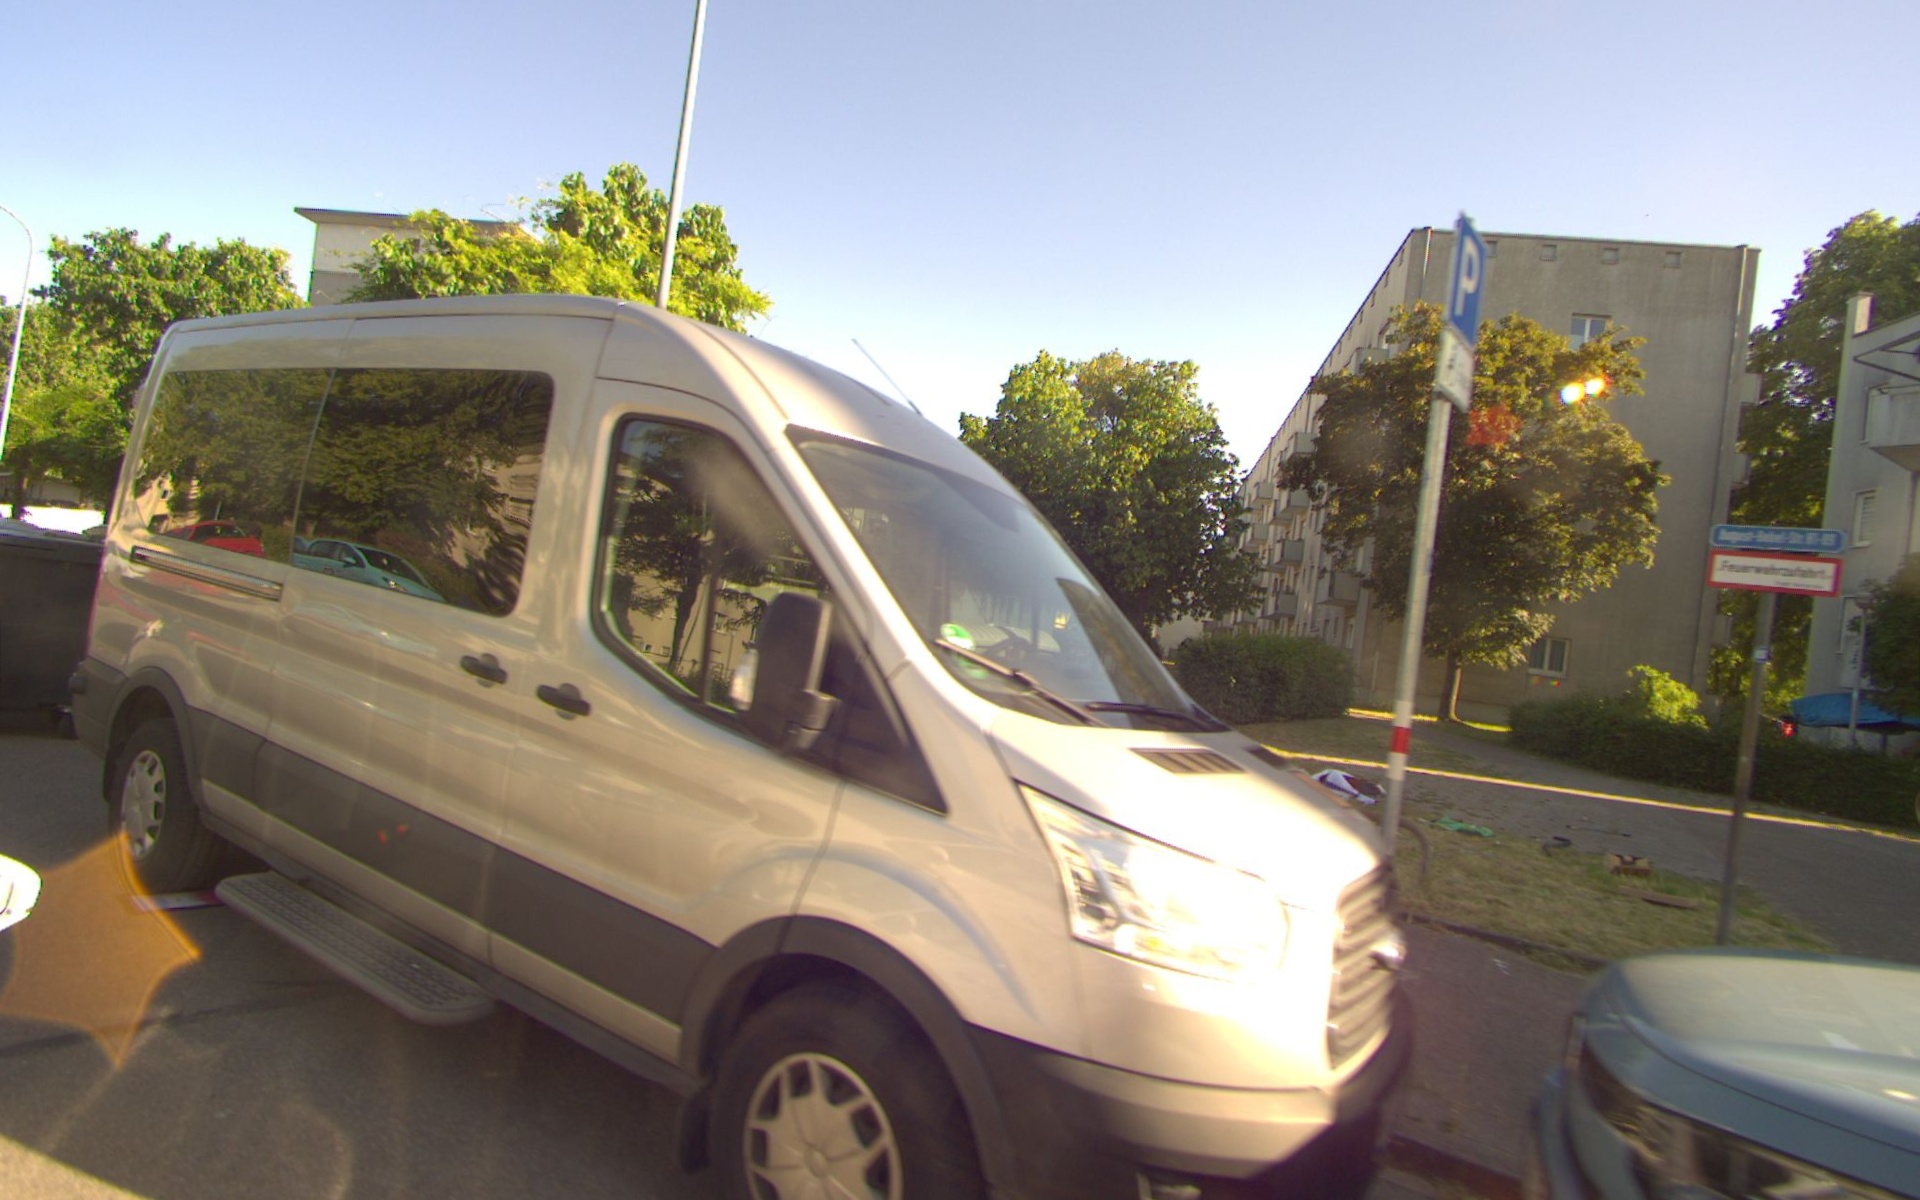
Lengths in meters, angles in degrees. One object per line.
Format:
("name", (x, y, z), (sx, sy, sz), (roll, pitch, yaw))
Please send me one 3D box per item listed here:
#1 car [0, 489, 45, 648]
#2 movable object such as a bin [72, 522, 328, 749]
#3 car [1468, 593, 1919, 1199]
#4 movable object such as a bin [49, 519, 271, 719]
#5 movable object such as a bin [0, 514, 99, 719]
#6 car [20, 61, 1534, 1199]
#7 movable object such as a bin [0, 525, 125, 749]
("car", (-12.428, -0.627, 11.556), (4.392, 1.683, 1.812), (7, -2, 36))
("movable object such as a bin", (-5.684, 0.267, 7.525), (1.340, 1.435, 1.108), (8, -2, 40))
("car", (3.115, 1.126, 1.286), (4.300, 1.686, 1.913), (7, -1, 30))
("movable object such as a bin", (-6.624, 0.161, 8.341), (1.154, 1.464, 1.091), (5, -3, 40))
("movable object such as a bin", (-7.227, 0.063, 7.307), (1.154, 1.414, 1.226), (7, 0, 41))
("car", (-1.211, 0.242, 3.992), (5.760, 2.514, 2.109), (7, -2, 33))
("movable object such as a bin", (-6.391, 0.196, 6.521), (1.106, 1.330, 1.267), (9, 2, 41))
